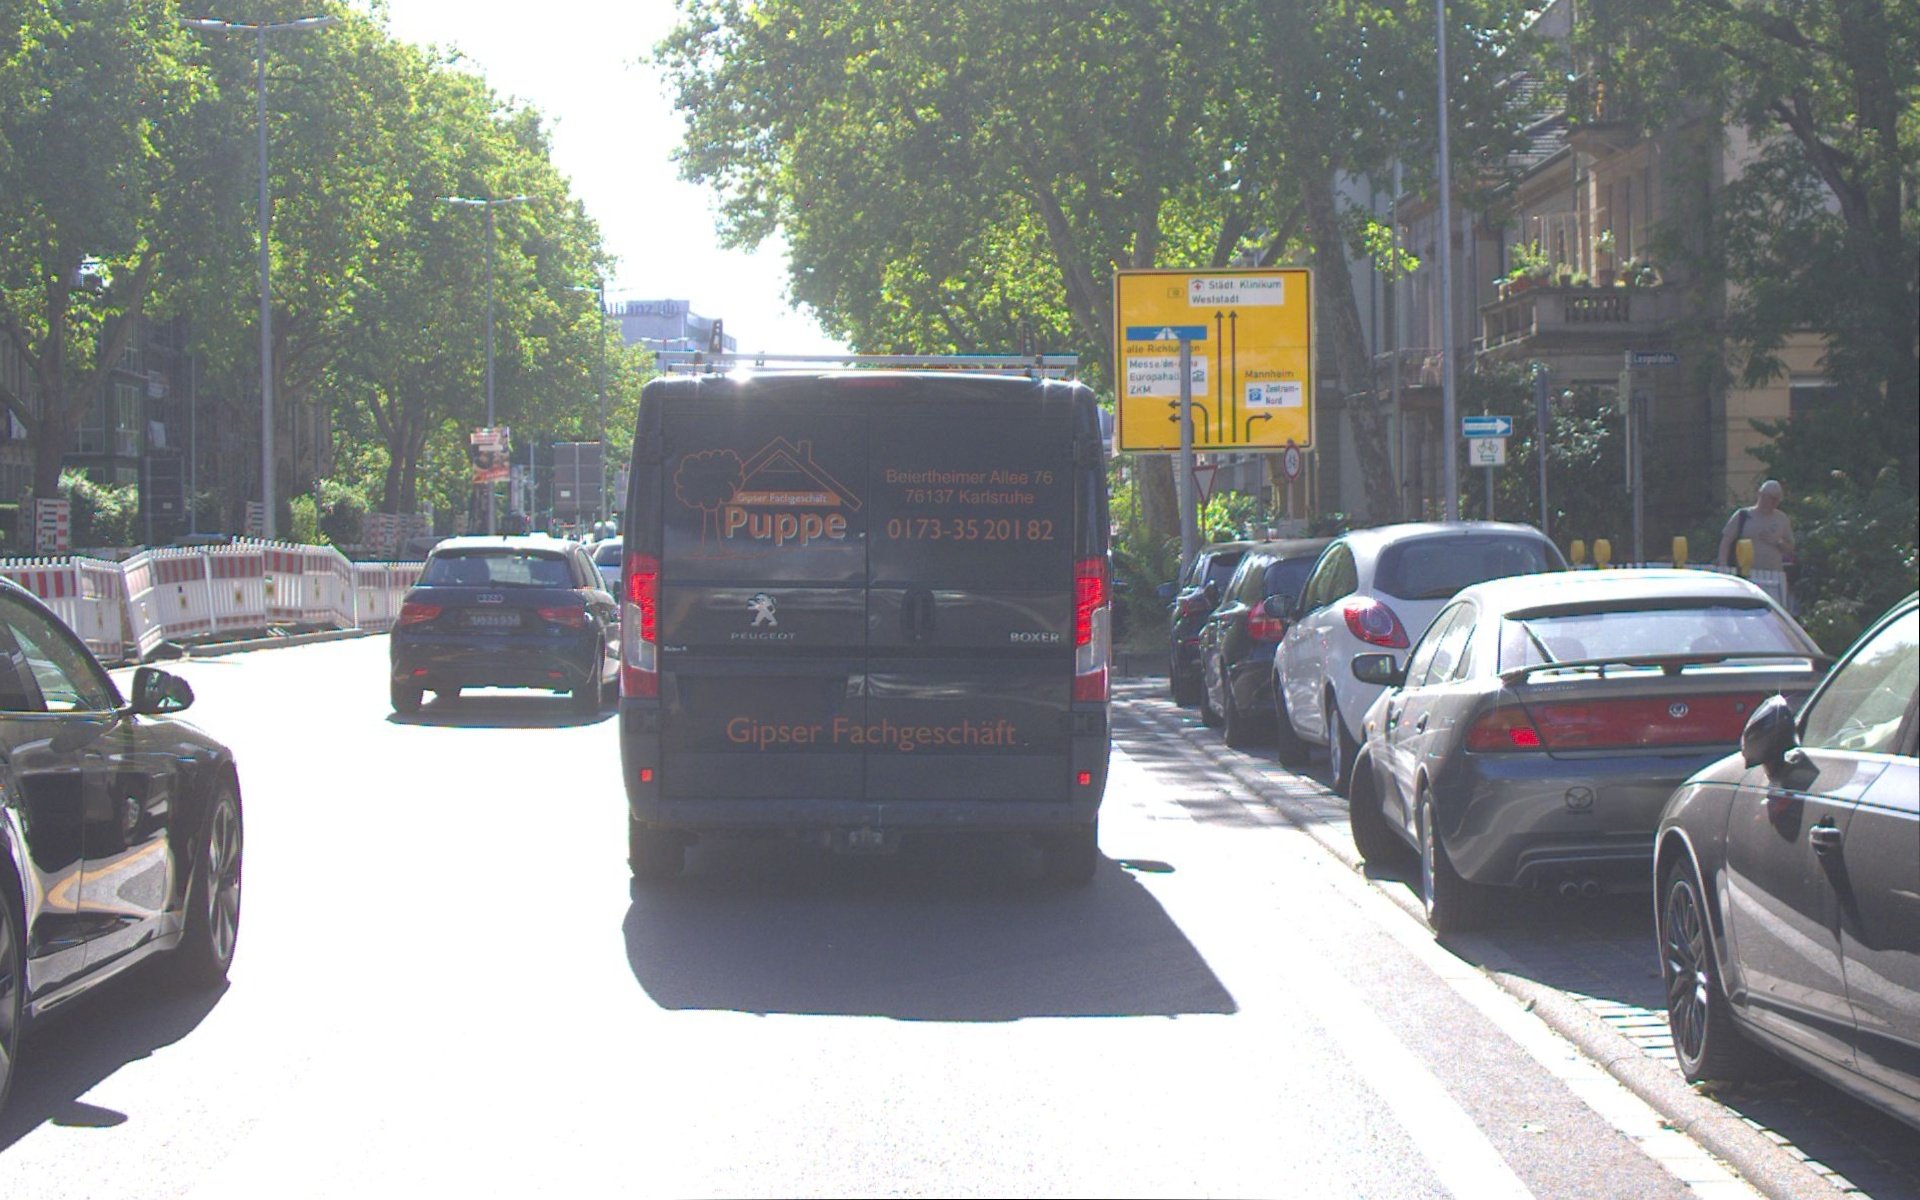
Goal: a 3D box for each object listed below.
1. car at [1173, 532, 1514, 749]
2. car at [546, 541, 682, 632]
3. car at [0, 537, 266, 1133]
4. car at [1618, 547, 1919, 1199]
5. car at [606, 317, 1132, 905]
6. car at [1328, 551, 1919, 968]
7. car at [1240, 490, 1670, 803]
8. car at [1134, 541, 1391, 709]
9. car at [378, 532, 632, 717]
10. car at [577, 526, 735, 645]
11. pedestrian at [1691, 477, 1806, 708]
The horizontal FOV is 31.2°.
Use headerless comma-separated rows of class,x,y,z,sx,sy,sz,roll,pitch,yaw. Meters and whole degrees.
car,2.648,0.233,24.552,1.844,1.403,3.801,-1,1,-2
car,-6.093,-0.267,60.910,1.993,1.465,4.000,1,2,0
car,-3.319,0.549,9.436,1.925,1.407,4.626,2,2,-1
car,2.841,0.607,7.651,1.844,1.437,4.487,-1,1,0
car,-0.428,-0.012,15.776,2.095,2.347,3.934,0,2,-2
car,2.585,0.529,13.820,1.844,1.403,3.800,-1,1,1
car,2.852,0.219,20.606,1.844,1.638,3.801,-2,1,-2
car,2.682,0.178,31.285,1.844,1.406,3.801,-1,1,-2
car,-3.730,0.153,28.778,1.746,1.402,4.001,1,1,-3
car,-3.759,-0.199,42.945,1.548,1.420,3.555,0,1,2
pedestrian,7.023,-0.073,30.647,0.798,2.007,1.168,-1,1,4
